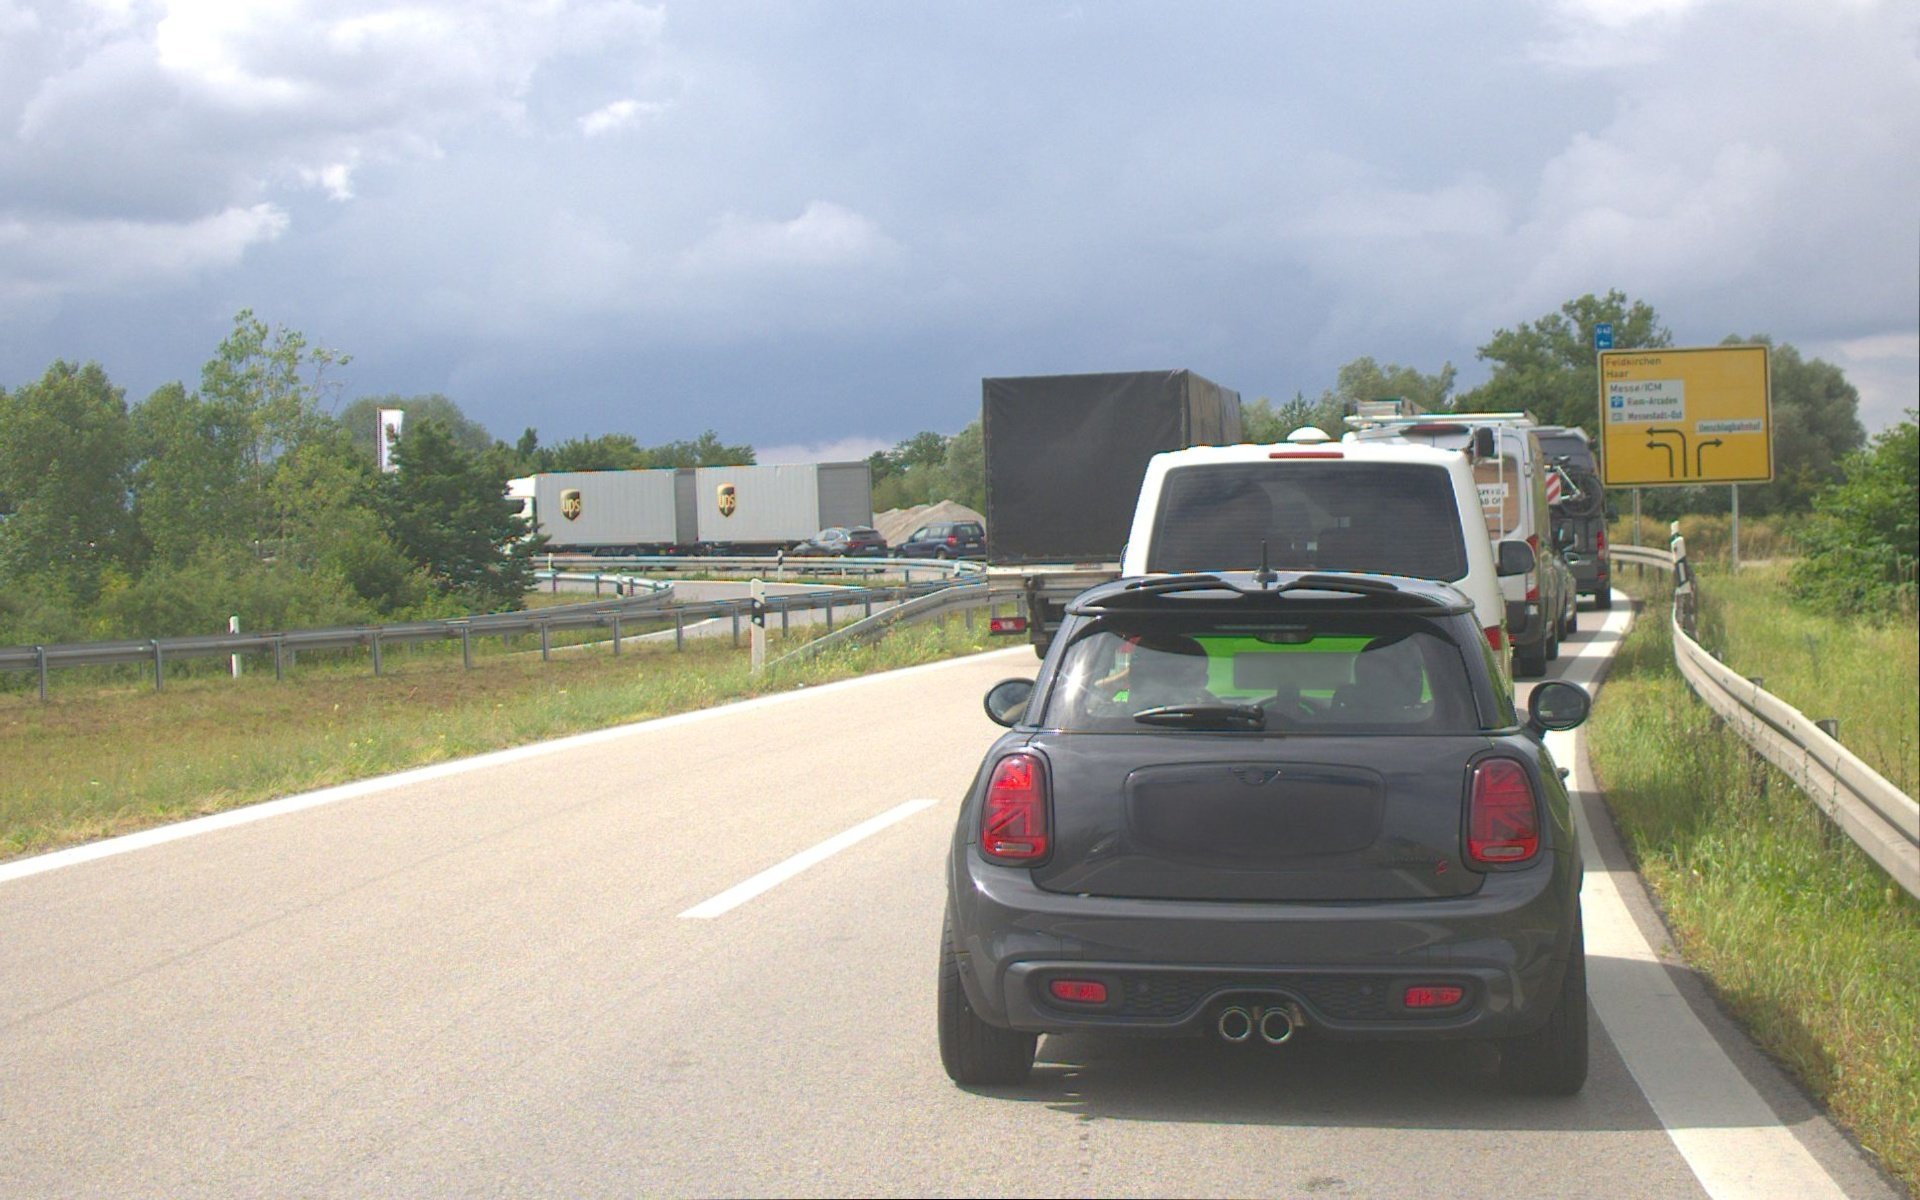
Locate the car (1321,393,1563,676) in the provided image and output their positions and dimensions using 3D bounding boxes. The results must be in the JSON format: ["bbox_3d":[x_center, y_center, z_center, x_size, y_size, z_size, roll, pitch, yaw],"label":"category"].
[{"bbox_3d":[4.962,-0.625,34.818,2.212,2.613,5.532,1,0,10],"label":"car"}]

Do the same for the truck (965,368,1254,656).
[{"bbox_3d":[1.957,-0.989,41.660,2.561,3.157,7.465,1,0,10],"label":"truck"}]

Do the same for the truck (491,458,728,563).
[{"bbox_3d":[-13.834,-3.504,135.152,10.019,3.962,2.839,1,0,38],"label":"truck"}]

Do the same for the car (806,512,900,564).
[{"bbox_3d":[-3.792,-2.164,121.004,1.812,1.750,4.001,1,0,-26],"label":"car"}]

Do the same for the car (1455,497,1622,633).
[{"bbox_3d":[7.389,-0.432,43.910,1.994,1.636,3.927,1,0,10],"label":"car"}]

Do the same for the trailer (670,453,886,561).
[{"bbox_3d":[-6.887,-3.433,128.935,3.038,3.884,8.767,1,0,-44],"label":"trailer"}]

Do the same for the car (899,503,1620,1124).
[{"bbox_3d":[0.948,0.499,10.516,1.800,1.541,3.737,0,1,6],"label":"car"}]

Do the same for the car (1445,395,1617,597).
[{"bbox_3d":[9.311,-1.603,55.578,2.312,3.058,6.658,1,0,13],"label":"car"}]

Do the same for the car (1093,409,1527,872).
[{"bbox_3d":[1.835,0.154,17.333,1.911,2.038,4.180,0,1,8],"label":"car"}]

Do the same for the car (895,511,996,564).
[{"bbox_3d":[-0.541,-2.225,122.934,1.921,1.831,4.318,1,0,-26],"label":"car"}]
